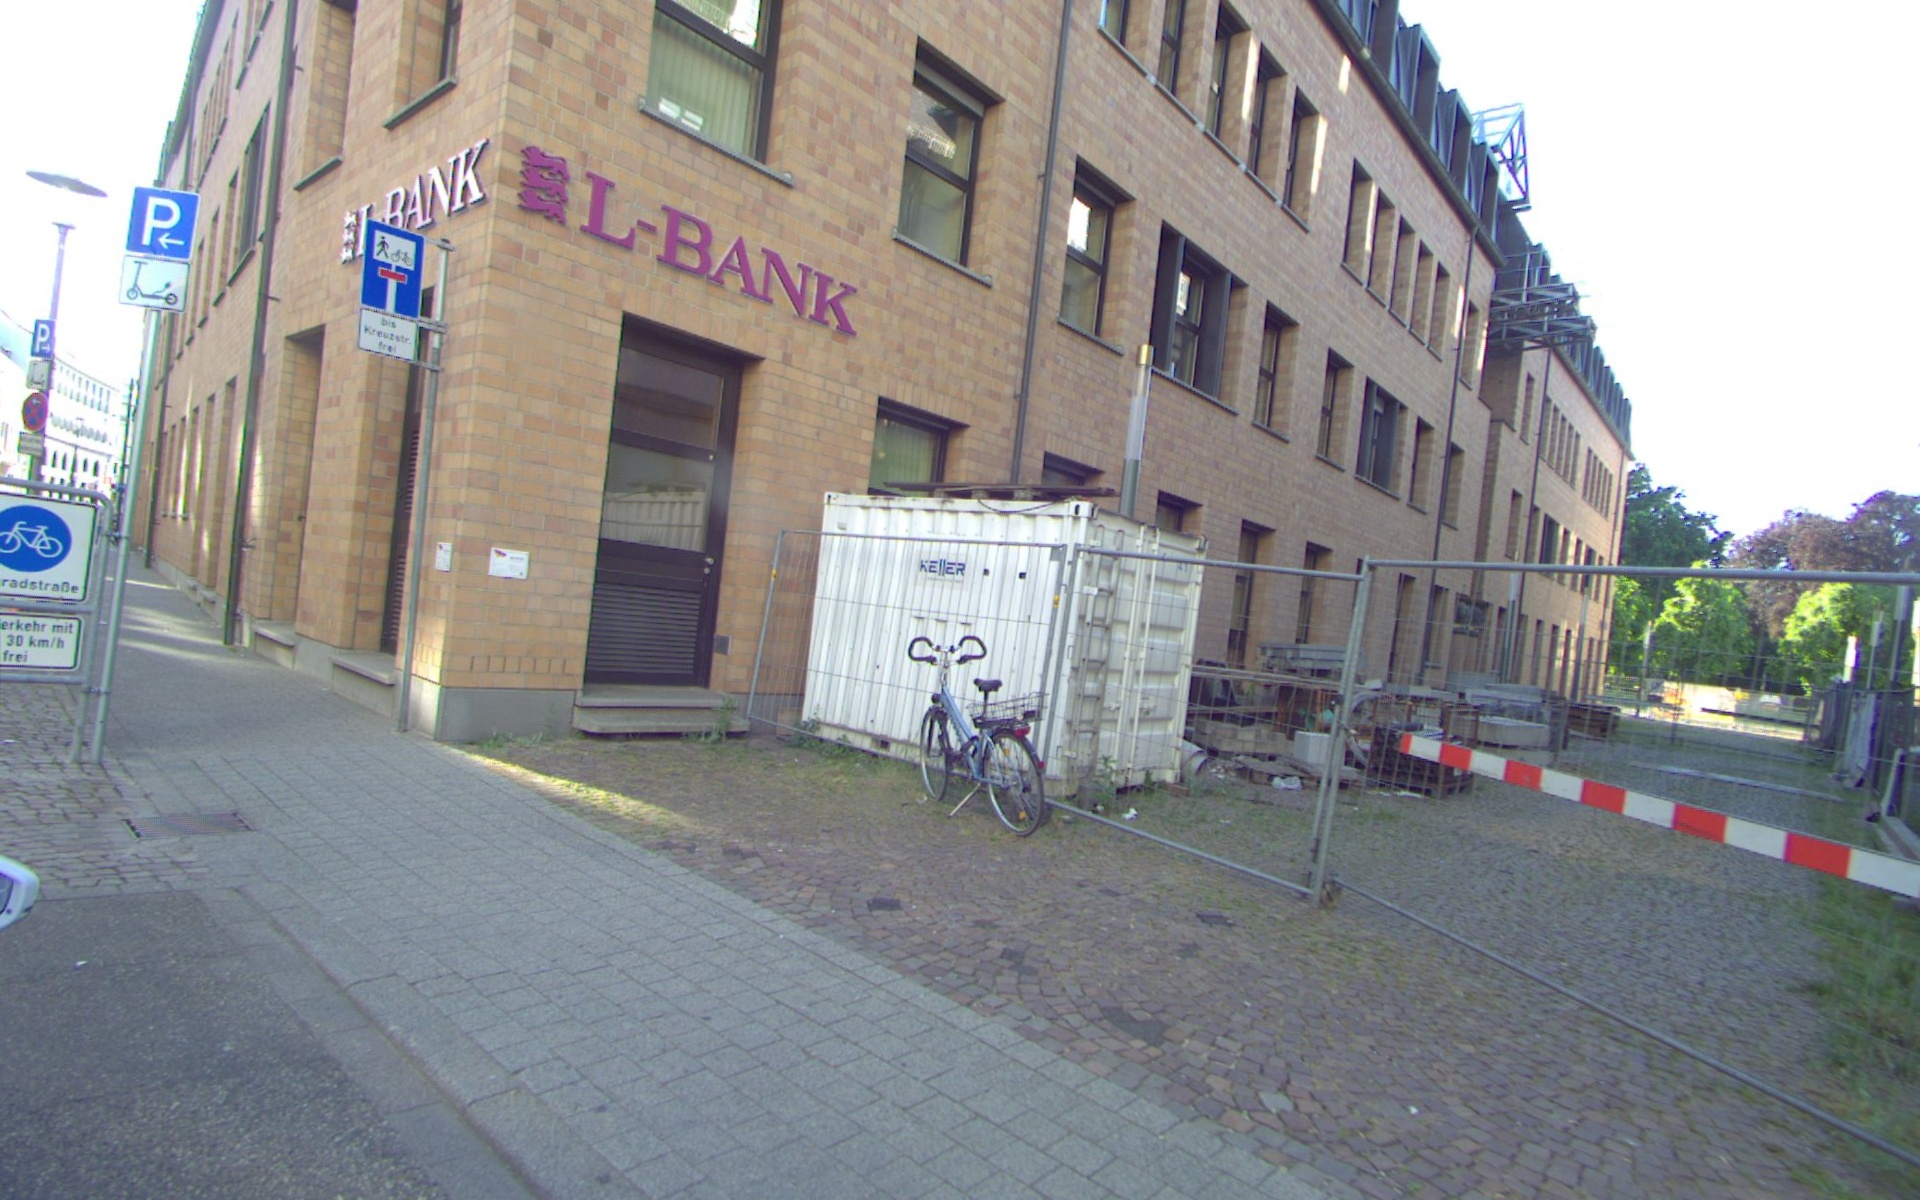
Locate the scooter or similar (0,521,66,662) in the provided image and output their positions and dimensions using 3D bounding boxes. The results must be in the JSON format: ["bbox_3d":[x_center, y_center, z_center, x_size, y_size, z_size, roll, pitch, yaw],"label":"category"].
[{"bbox_3d":[-8.913,-0.097,8.984,0.529,1.250,1.418,8,0,-4],"label":"scooter or similar"}]

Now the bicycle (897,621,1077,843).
[{"bbox_3d":[0.134,0.847,6.970,0.317,1.265,1.569,6,0,-31],"label":"bicycle"}]

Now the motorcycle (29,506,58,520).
[{"bbox_3d":[-77.375,-7.327,84.946,1.681,0.869,0.589,9,-2,-34],"label":"motorcycle"}]

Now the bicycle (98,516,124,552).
[{"bbox_3d":[-29.297,-2.289,34.698,0.547,1.118,1.957,2,4,-44],"label":"bicycle"}]

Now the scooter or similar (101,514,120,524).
[{"bbox_3d":[-97.197,-9.233,115.137,0.518,0.939,2.225,7,-1,-8],"label":"scooter or similar"}]

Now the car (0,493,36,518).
[{"bbox_3d":[-73.637,-7.324,78.518,1.728,1.625,3.496,8,-1,-38],"label":"car"}]

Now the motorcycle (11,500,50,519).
[{"bbox_3d":[-80.684,-7.881,87.353,2.378,1.334,0.853,6,1,-39],"label":"motorcycle"}]

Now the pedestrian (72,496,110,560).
[{"bbox_3d":[-24.911,-2.073,28.842,0.757,1.739,0.812,3,3,-42],"label":"pedestrian"}]

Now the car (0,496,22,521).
[{"bbox_3d":[-64.075,-6.170,67.400,1.633,1.537,4.111,6,0,-42],"label":"car"}]
